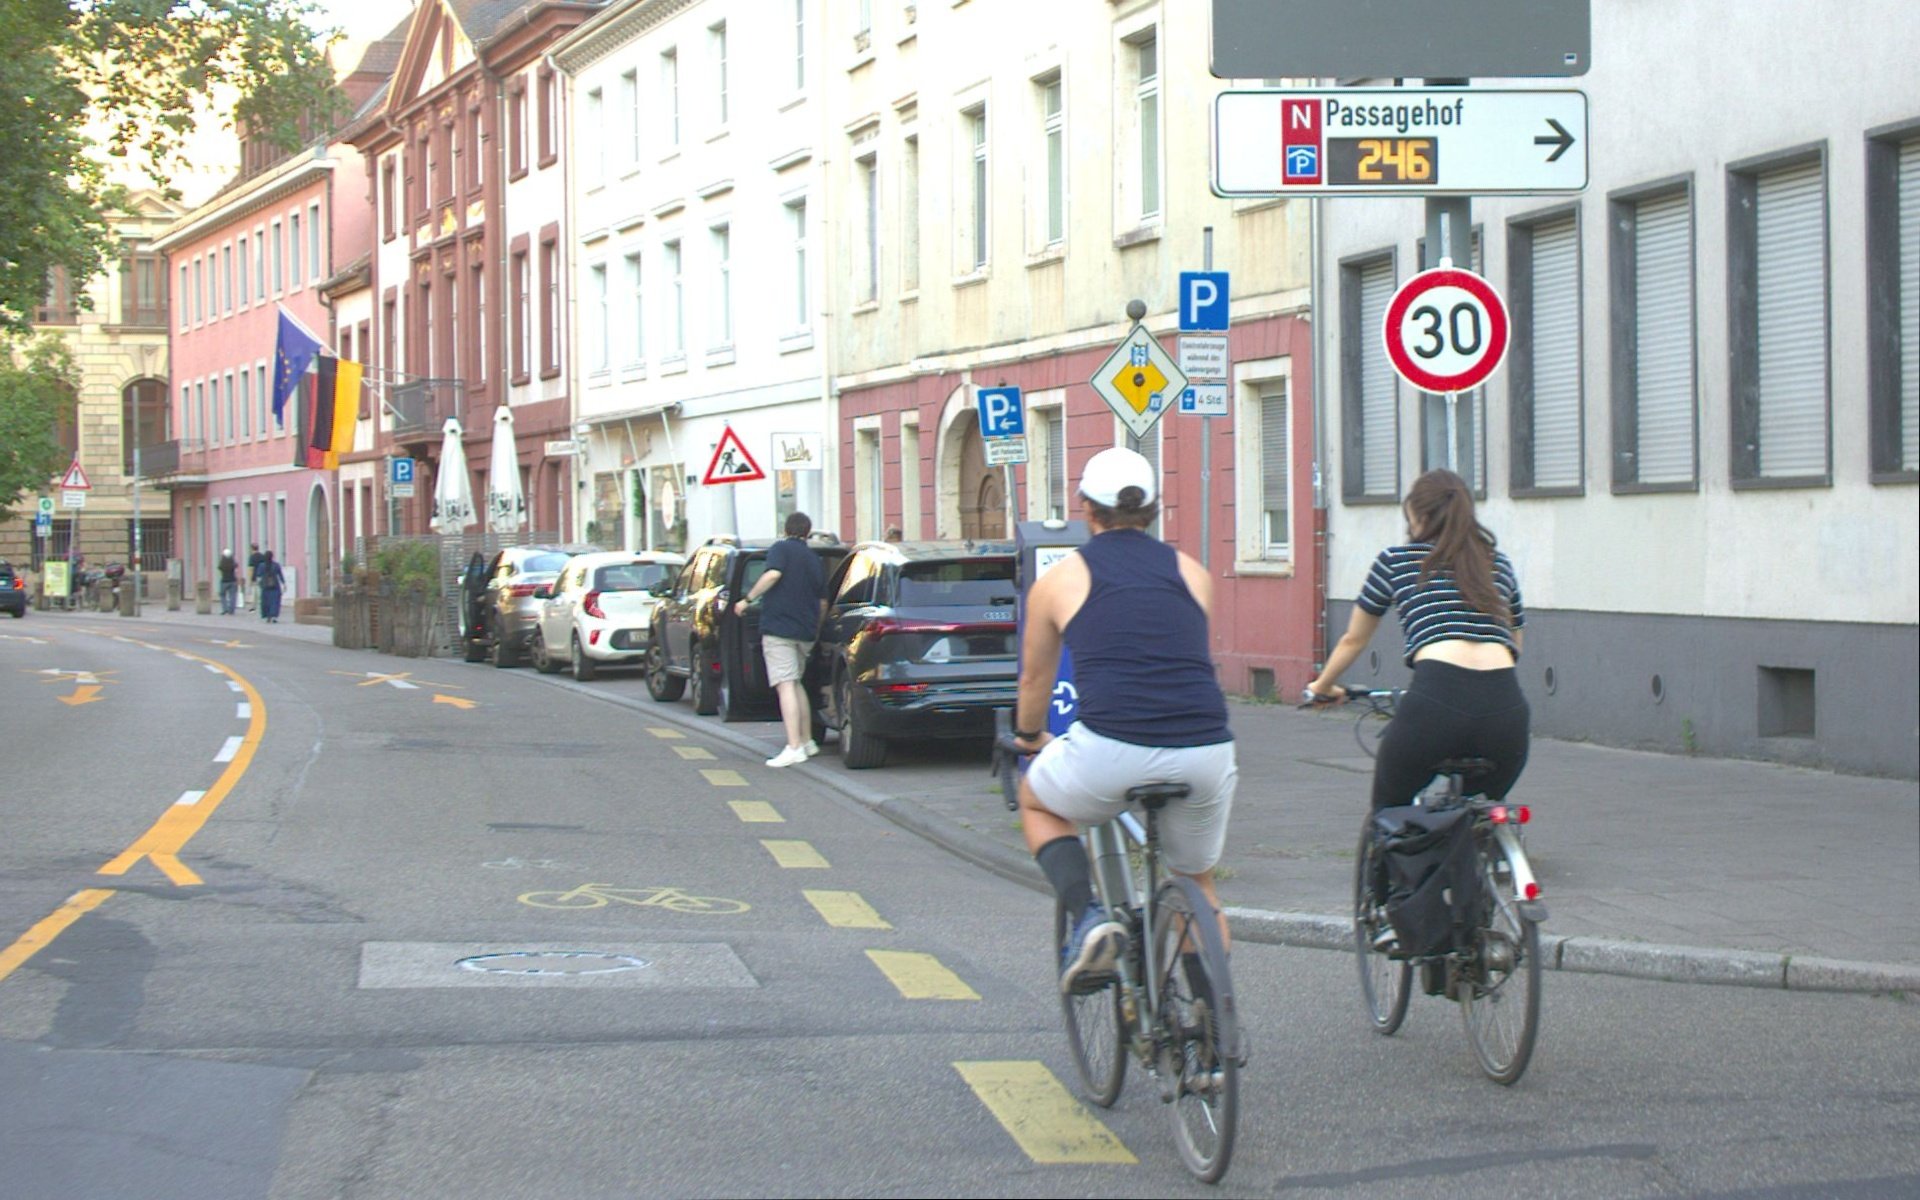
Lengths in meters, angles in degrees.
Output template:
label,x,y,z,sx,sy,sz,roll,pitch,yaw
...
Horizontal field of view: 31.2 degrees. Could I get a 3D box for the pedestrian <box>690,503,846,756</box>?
label,x,y,z,sx,sy,sz,roll,pitch,yaw
pedestrian,-1.450,0.206,25.850,0.900,1.859,0.932,-1,1,-23

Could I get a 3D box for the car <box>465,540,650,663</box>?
label,x,y,z,sx,sy,sz,roll,pitch,yaw
car,-5.400,-0.018,45.753,1.812,1.554,3.866,-1,1,-16

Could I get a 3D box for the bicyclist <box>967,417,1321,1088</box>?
label,x,y,z,sx,sy,sz,roll,pitch,yaw
bicyclist,0.435,0.357,8.394,0.668,1.560,0.699,1,1,-11

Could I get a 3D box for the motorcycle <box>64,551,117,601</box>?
label,x,y,z,sx,sy,sz,roll,pitch,yaw
motorcycle,-22.284,-0.622,88.084,1.041,1.244,2.399,-1,1,-21

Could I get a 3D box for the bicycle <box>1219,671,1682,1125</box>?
label,x,y,z,sx,sy,sz,roll,pitch,yaw
bicycle,1.340,0.789,9.906,0.652,1.067,2.259,1,1,-9

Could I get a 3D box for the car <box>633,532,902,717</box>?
label,x,y,z,sx,sy,sz,roll,pitch,yaw
car,-1.939,0.185,33.471,1.812,1.678,4.001,-1,1,-15

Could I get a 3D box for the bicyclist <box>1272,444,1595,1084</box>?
label,x,y,z,sx,sy,sz,roll,pitch,yaw
bicyclist,1.342,0.446,9.886,0.649,1.754,0.864,1,1,-9

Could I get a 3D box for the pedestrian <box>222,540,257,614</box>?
label,x,y,z,sx,sy,sz,roll,pitch,yaw
pedestrian,-17.248,-0.554,82.282,0.750,1.756,0.586,-1,1,-18

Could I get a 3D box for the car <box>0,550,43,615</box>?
label,x,y,z,sx,sy,sz,roll,pitch,yaw
car,-23.587,-0.440,83.487,1.812,1.554,3.865,-1,1,-26

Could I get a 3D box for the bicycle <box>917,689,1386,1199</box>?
label,x,y,z,sx,sy,sz,roll,pitch,yaw
bicycle,0.414,0.797,8.479,0.669,1.067,1.902,1,1,-12

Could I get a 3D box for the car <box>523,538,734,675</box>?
label,x,y,z,sx,sy,sz,roll,pitch,yaw
car,-4.039,0.044,41.366,1.812,1.554,3.866,-1,1,-16

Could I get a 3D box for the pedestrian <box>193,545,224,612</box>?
label,x,y,z,sx,sy,sz,roll,pitch,yaw
pedestrian,-18.087,-0.521,82.732,0.667,1.576,0.586,-1,1,-18

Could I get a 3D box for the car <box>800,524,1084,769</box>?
label,x,y,z,sx,sy,sz,roll,pitch,yaw
car,-0.210,0.283,25.654,1.812,1.676,3.920,0,1,-5
